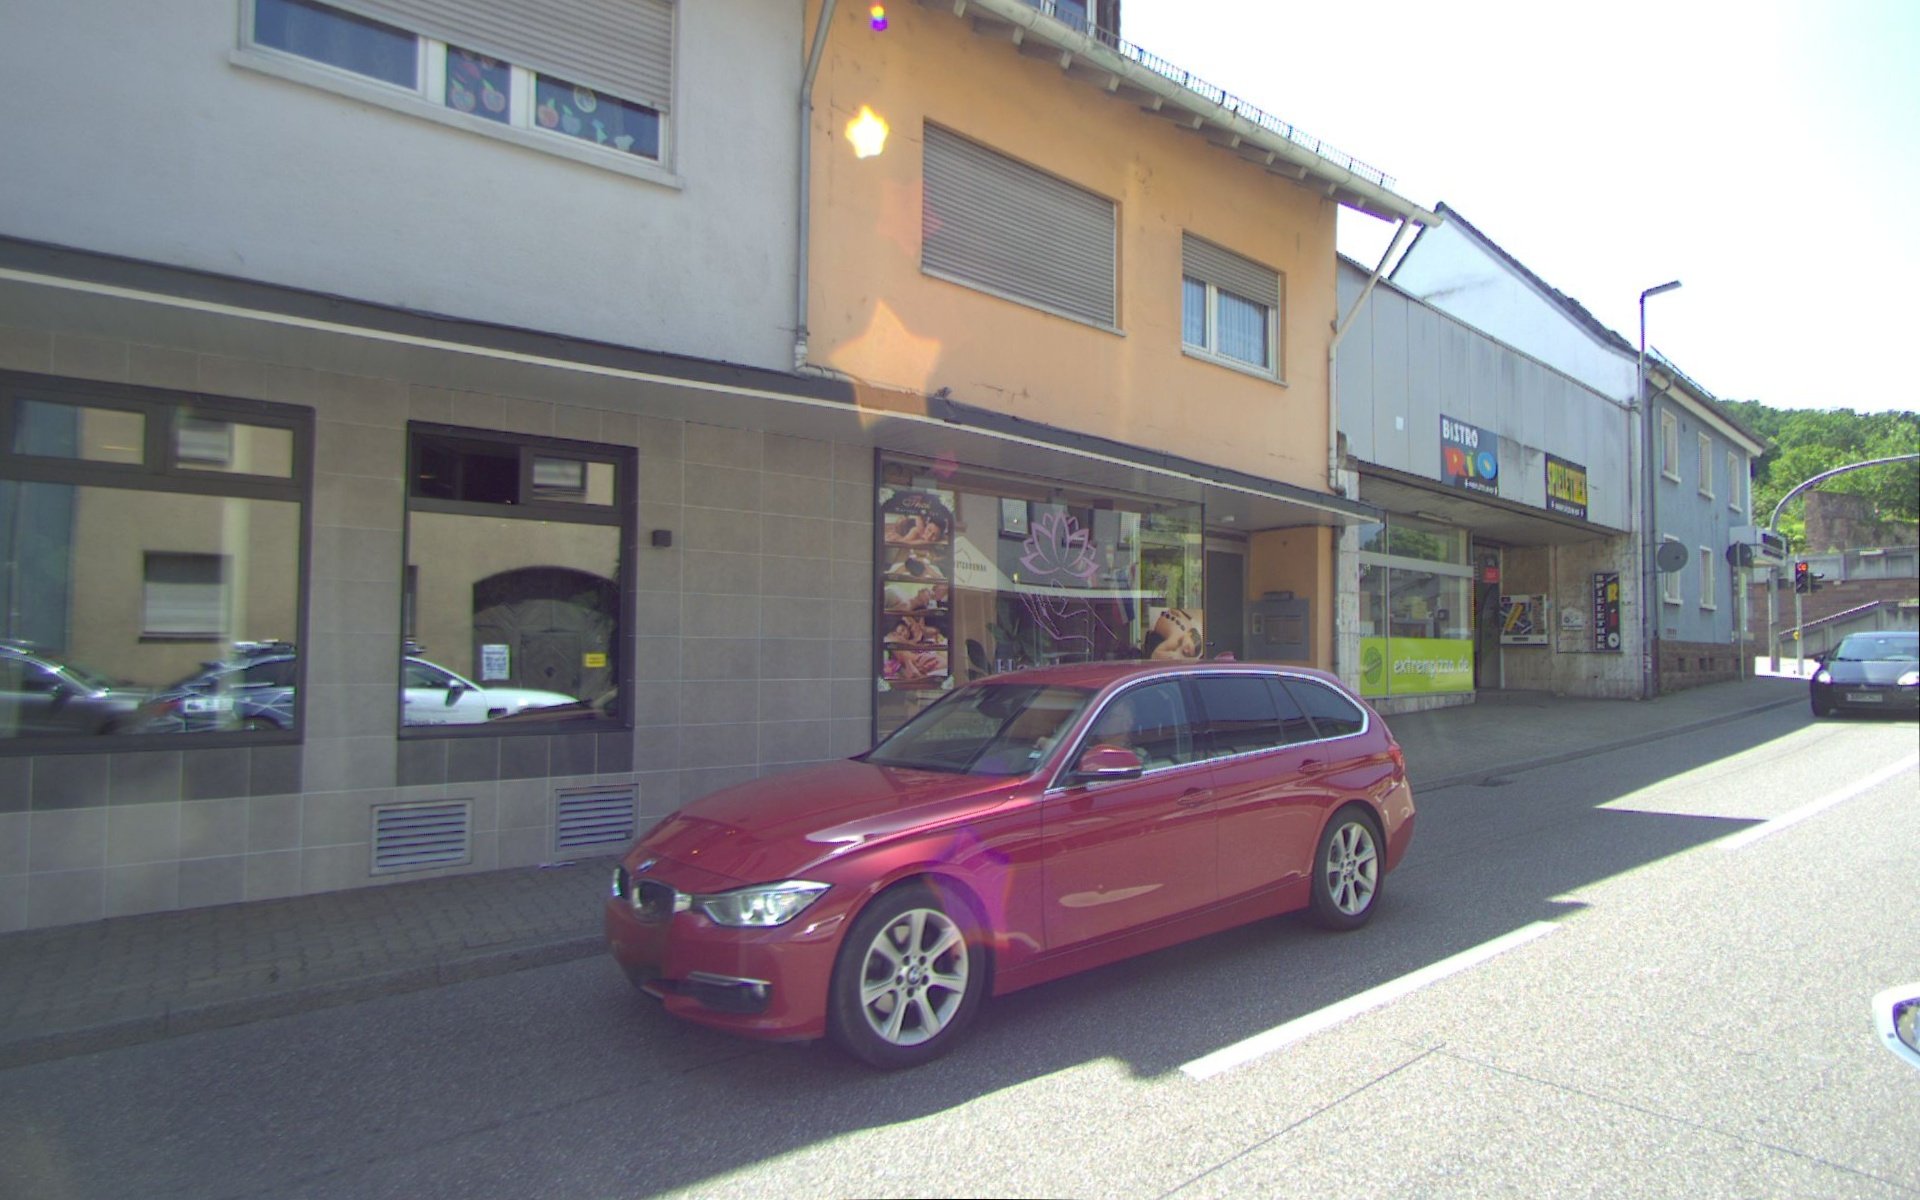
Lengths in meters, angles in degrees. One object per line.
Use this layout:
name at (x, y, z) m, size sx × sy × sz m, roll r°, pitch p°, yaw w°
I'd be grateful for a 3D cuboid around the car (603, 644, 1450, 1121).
car at (0.574, 1.010, 5.175) m, size 4.244 × 1.427 × 1.706 m, roll 1°, pitch -4°, yaw -37°

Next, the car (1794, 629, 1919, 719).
car at (16.775, 1.280, 18.262) m, size 3.786 × 1.441 × 1.705 m, roll 0°, pitch -3°, yaw -39°
